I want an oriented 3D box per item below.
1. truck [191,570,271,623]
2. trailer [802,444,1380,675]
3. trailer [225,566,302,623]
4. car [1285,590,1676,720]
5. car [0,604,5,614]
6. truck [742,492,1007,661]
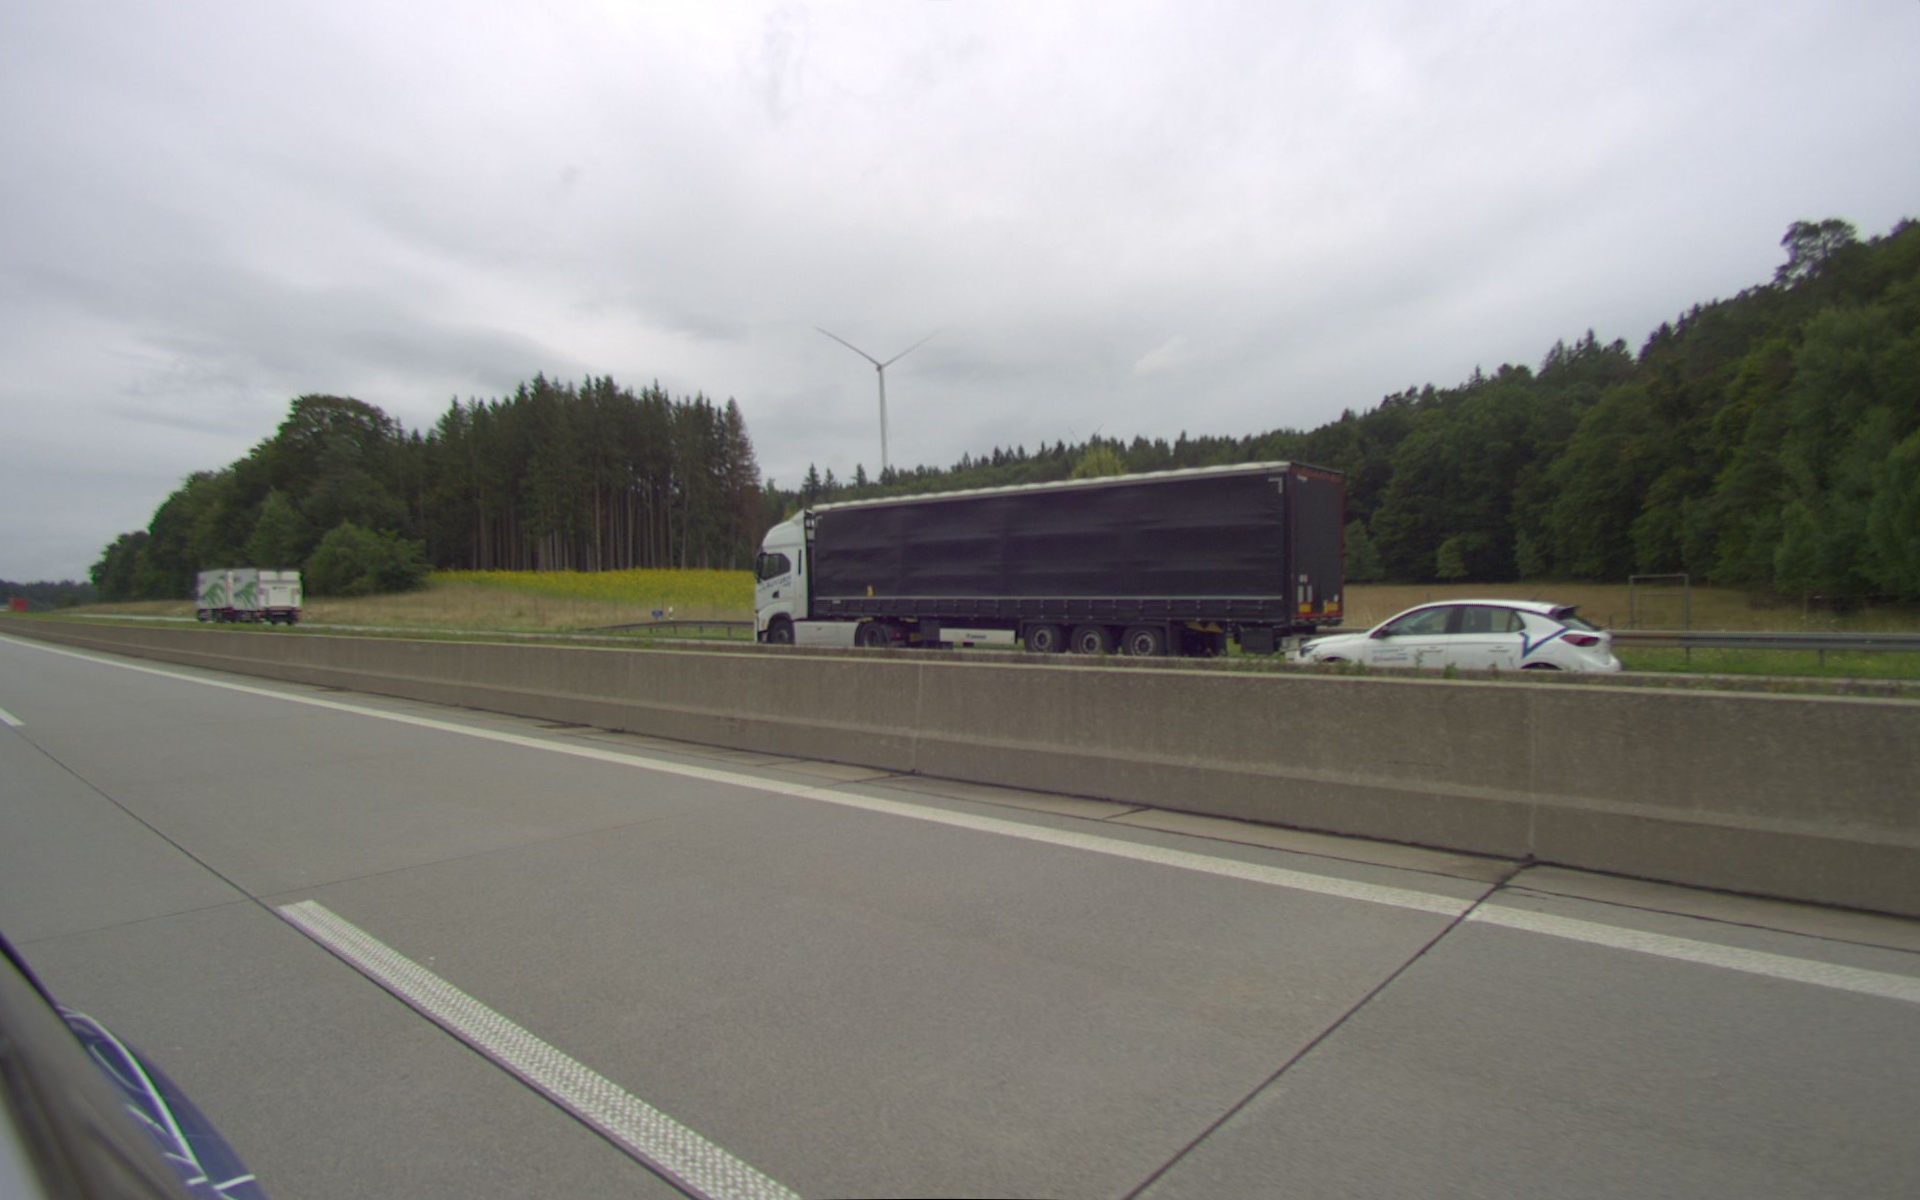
[{"bbox_3d":[-55.929,-0.237,77.506,11.351,3.801,2.782,0,1,43],"label":"truck"},{"bbox_3d":[2.091,-0.639,23.832,14.126,4.083,3.201,-1,0,42],"label":"trailer"},{"bbox_3d":[-48.928,-0.342,70.998,7.715,3.811,2.788,-1,0,43],"label":"trailer"},{"bbox_3d":[6.839,0.677,13.603,4.370,1.479,1.765,-2,-1,42],"label":"car"},{"bbox_3d":[-184.034,1.774,193.354,4.391,1.813,1.972,0,1,43],"label":"car"},{"bbox_3d":[-2.521,-0.548,27.995,7.163,4.088,3.179,-1,0,42],"label":"truck"}]
